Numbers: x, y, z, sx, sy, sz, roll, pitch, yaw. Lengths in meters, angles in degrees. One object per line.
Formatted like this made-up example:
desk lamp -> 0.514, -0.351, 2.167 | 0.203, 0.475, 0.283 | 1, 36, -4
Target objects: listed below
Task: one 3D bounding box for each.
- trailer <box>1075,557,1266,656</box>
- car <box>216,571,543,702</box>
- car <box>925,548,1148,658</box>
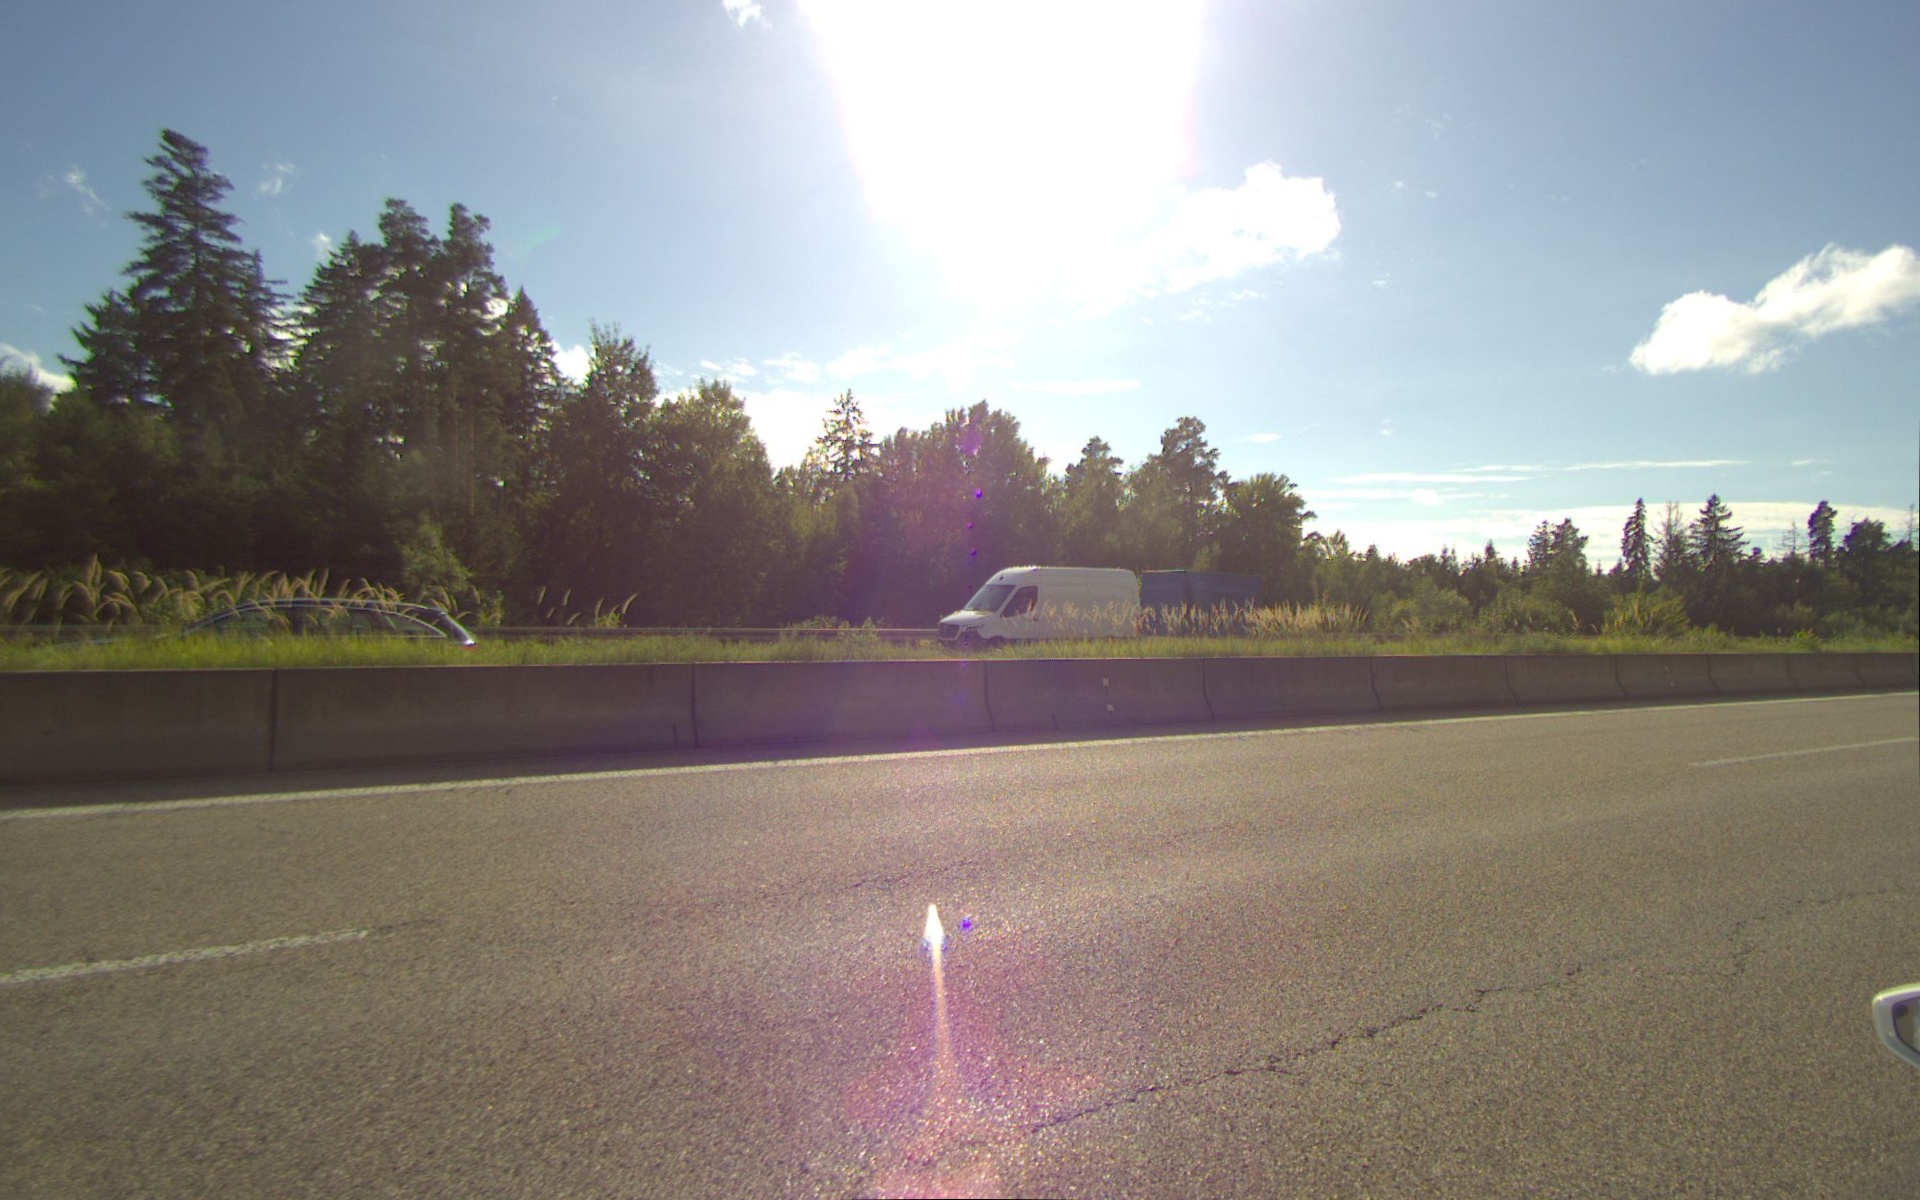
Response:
trailer -> 6.290, 0.230, 29.817 | 5.499, 2.719, 2.258 | 1, 0, -31
car -> -7.607, 0.453, 13.440 | 3.532, 1.527, 1.879 | 1, 0, -30
car -> 2.139, 0.125, 27.264 | 5.822, 2.719, 2.258 | 1, 0, -31
